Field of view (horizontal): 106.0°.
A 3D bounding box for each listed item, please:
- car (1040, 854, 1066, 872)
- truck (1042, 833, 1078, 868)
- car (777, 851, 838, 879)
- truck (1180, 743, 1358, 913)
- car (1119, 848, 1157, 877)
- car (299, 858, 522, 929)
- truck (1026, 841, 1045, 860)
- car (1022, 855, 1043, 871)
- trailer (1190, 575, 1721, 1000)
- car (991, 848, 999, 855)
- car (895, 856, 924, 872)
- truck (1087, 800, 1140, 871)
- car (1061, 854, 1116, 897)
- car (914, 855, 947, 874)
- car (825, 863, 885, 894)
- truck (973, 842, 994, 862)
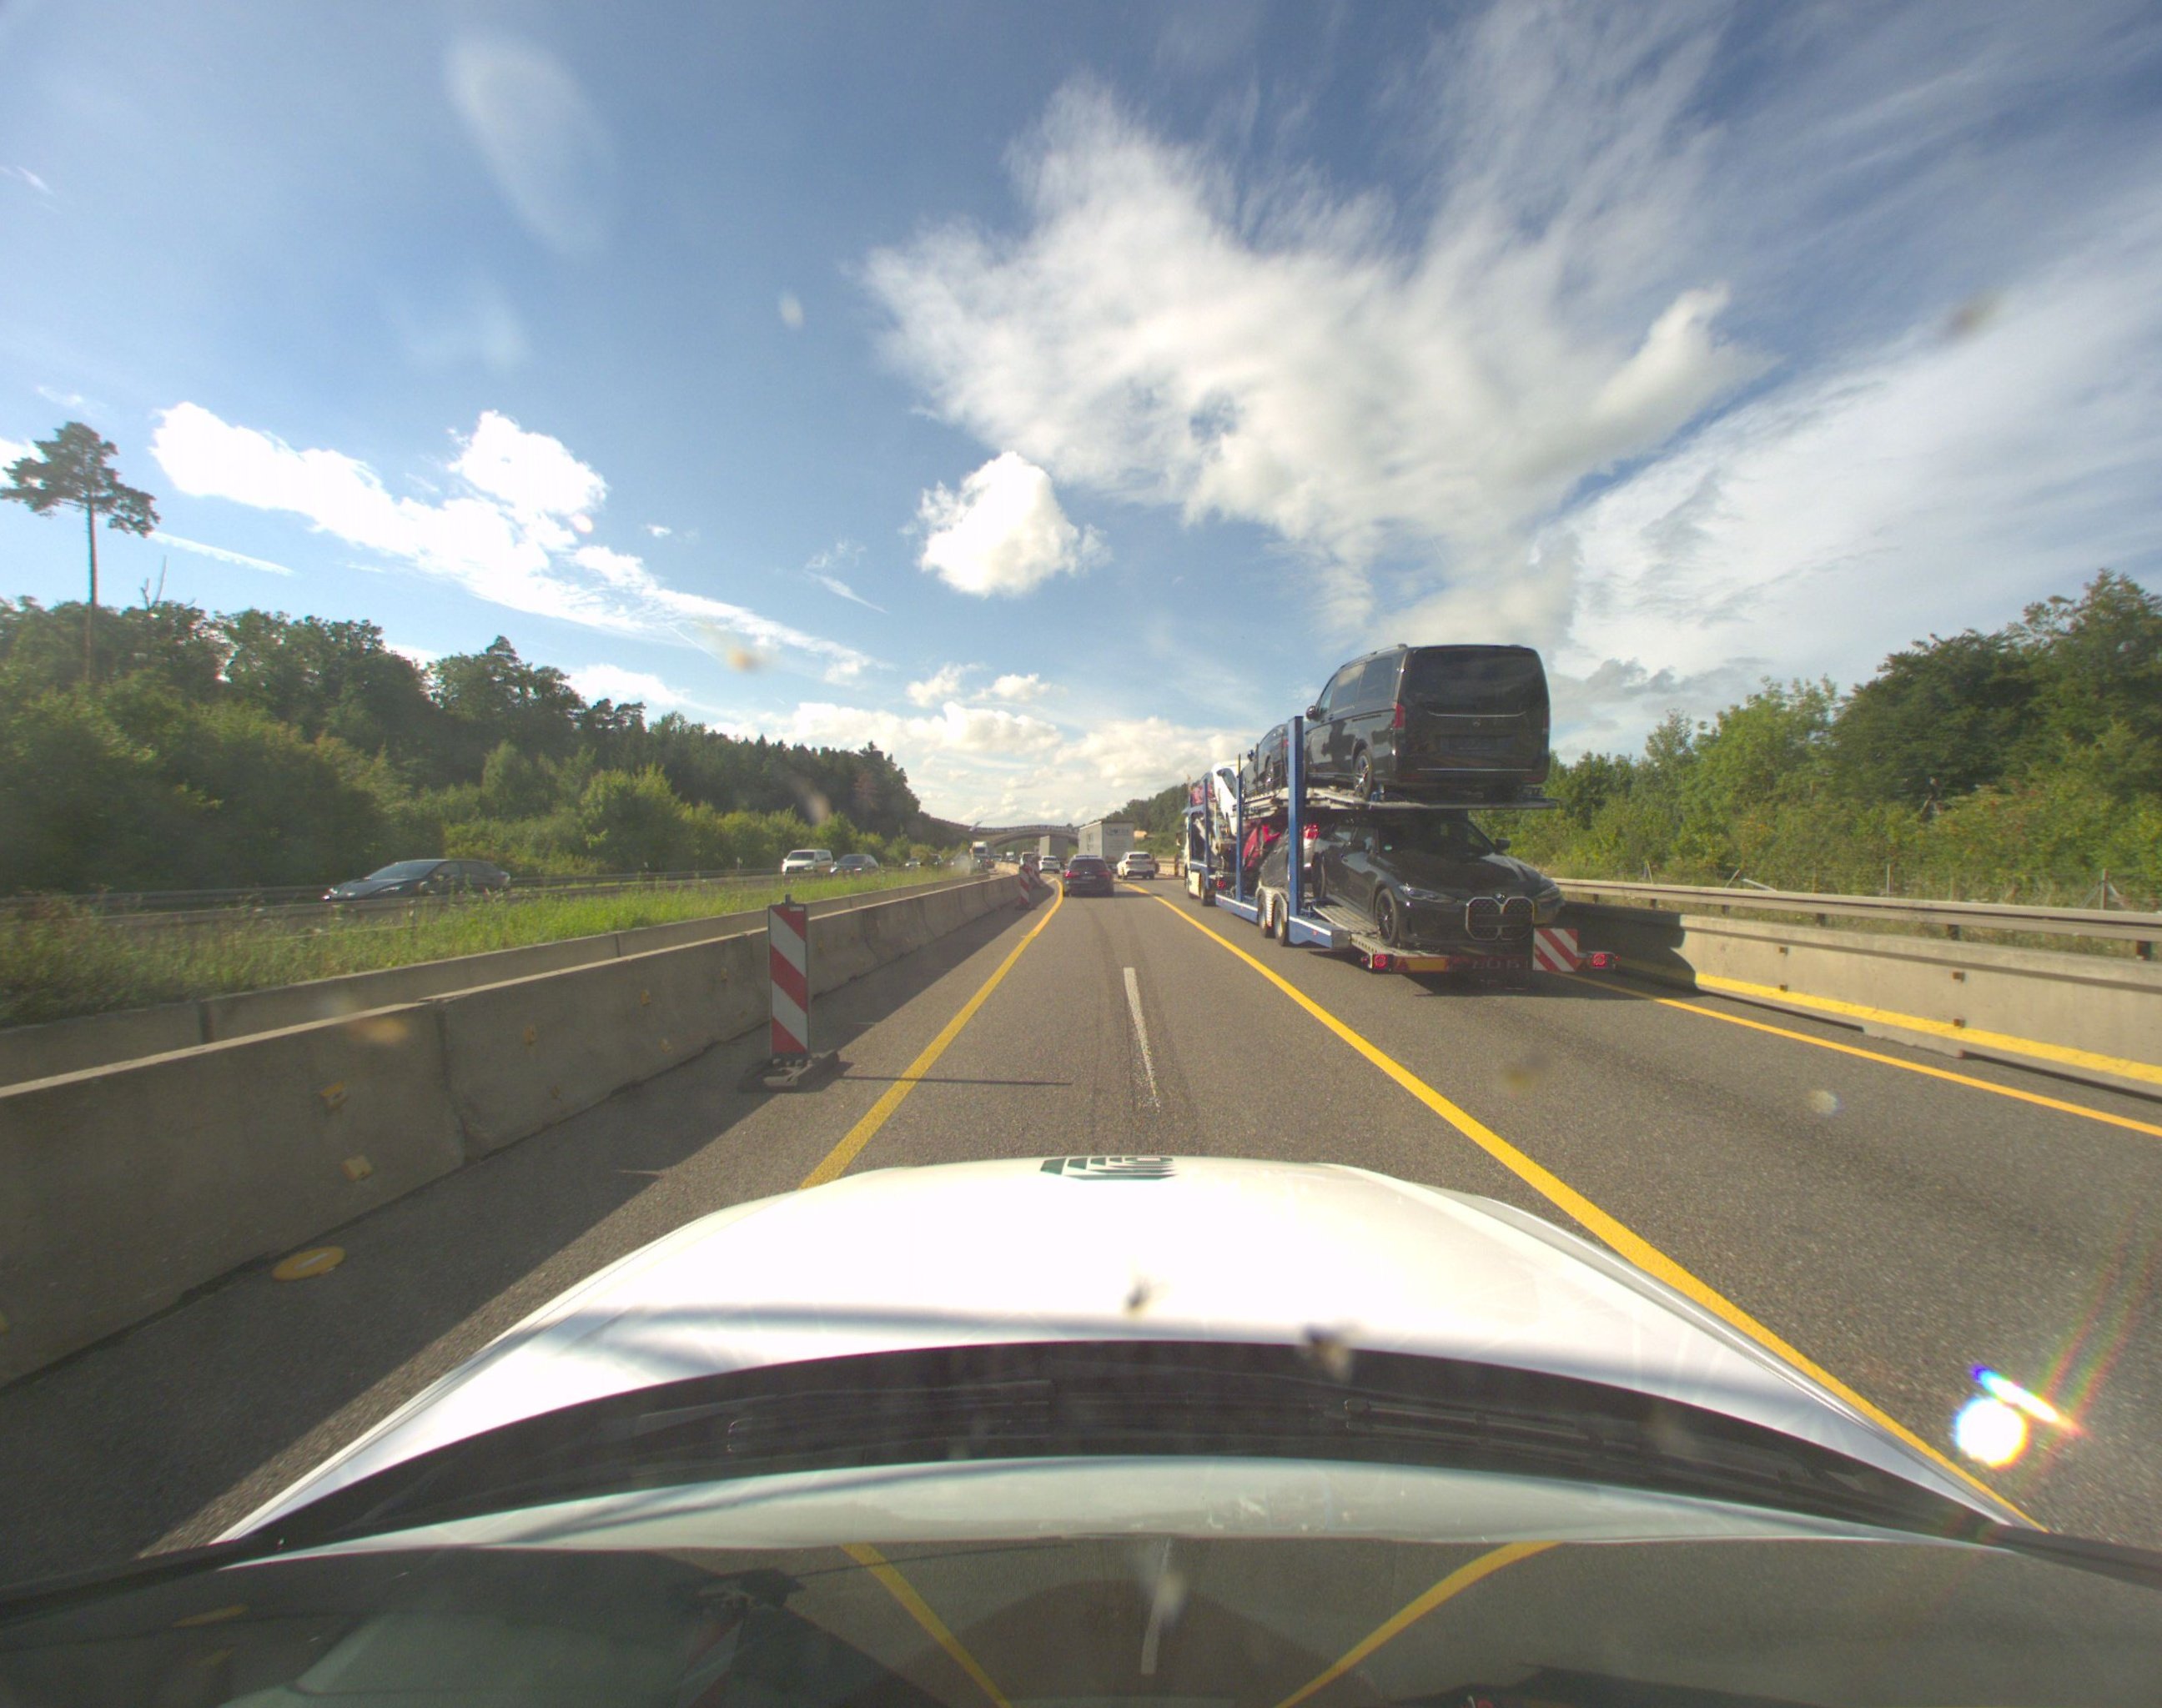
[{"bbox_3d":[-2.405,0.728,69.042,1.889,1.446,3.990,0,0,-7],"label":"car"},{"bbox_3d":[-3.078,-0.446,112.888,4.313,4.600,11.104,0,0,-5],"label":"truck"},{"bbox_3d":[-16.575,0.624,49.593,1.961,1.602,4.948,0,0,1],"label":"car"},{"bbox_3d":[5.143,-0.637,24.188,3.746,4.196,7.955,0,0,2],"label":"truck"},{"bbox_3d":[3.412,0.505,49.215,1.885,1.643,4.014,0,0,-2],"label":"car"},{"bbox_3d":[-16.910,0.912,20.914,1.771,1.602,4.677,0,0,1],"label":"car"},{"bbox_3d":[-9.764,-0.653,174.183,3.649,3.928,11.044,0,0,-6],"label":"truck"},{"bbox_3d":[-5.141,0.968,85.926,1.888,1.643,4.008,0,0,-7],"label":"car"},{"bbox_3d":[4.798,-0.644,16.221,3.711,4.196,16.236,0,0,2],"label":"trailer"},{"bbox_3d":[-23.286,-0.557,220.375,1.775,1.866,3.996,0,0,-2],"label":"car"},{"bbox_3d":[-17.361,0.979,82.793,1.962,1.602,4.945,0,0,-1],"label":"car"},{"bbox_3d":[2.550,-1.401,70.123,3.667,5.353,16.194,0,0,-1],"label":"truck"},{"bbox_3d":[0.286,0.746,30.247,1.884,1.446,4.000,0,0,1],"label":"car"},{"bbox_3d":[-13.238,0.931,71.847,1.961,1.602,4.948,0,0,1],"label":"car"},{"bbox_3d":[-12.845,1.365,46.665,1.961,1.602,4.948,0,0,1],"label":"car"},{"bbox_3d":[-16.585,-0.294,139.384,2.747,3.298,5.815,0,0,1],"label":"truck"}]
